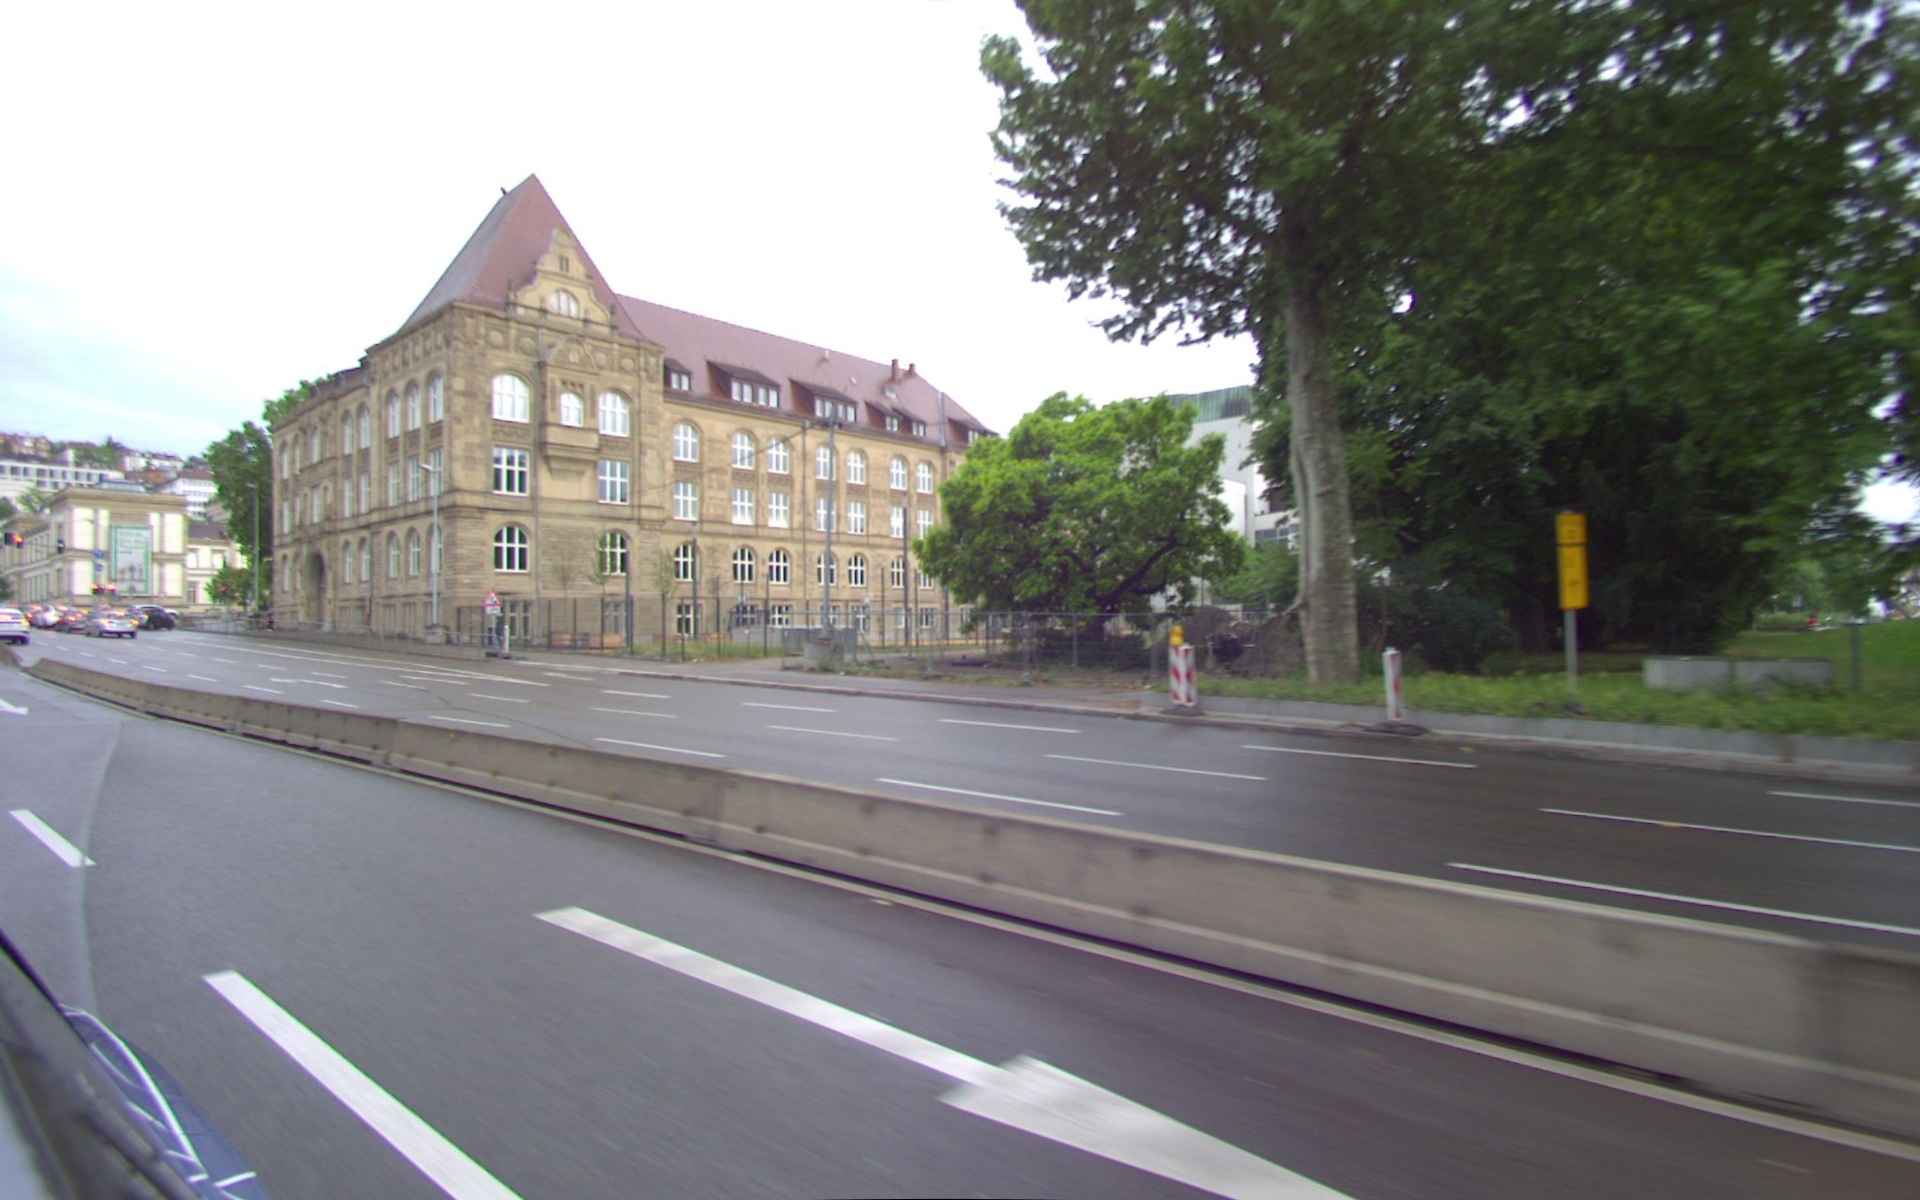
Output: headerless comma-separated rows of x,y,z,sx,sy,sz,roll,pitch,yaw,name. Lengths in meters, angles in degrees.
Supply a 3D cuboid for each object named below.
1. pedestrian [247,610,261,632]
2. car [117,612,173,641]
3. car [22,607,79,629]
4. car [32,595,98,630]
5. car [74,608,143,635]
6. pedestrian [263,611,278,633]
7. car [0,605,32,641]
-51.235,1.509,73.409,0.734,1.596,0.610,0,-3,41,pedestrian
-60.870,1.993,75.587,3.988,2.029,1.978,0,-2,33,car
-60.640,1.188,67.457,4.204,1.393,1.975,0,-3,37,car
-55.543,0.784,62.781,3.988,2.029,1.978,0,-2,33,car
-48.822,1.238,58.029,4.202,1.393,1.976,0,-3,35,car
-50.511,1.602,74.163,0.733,1.596,0.611,0,-3,33,pedestrian
-44.531,1.004,46.629,4.893,1.579,1.875,0,-3,39,car
